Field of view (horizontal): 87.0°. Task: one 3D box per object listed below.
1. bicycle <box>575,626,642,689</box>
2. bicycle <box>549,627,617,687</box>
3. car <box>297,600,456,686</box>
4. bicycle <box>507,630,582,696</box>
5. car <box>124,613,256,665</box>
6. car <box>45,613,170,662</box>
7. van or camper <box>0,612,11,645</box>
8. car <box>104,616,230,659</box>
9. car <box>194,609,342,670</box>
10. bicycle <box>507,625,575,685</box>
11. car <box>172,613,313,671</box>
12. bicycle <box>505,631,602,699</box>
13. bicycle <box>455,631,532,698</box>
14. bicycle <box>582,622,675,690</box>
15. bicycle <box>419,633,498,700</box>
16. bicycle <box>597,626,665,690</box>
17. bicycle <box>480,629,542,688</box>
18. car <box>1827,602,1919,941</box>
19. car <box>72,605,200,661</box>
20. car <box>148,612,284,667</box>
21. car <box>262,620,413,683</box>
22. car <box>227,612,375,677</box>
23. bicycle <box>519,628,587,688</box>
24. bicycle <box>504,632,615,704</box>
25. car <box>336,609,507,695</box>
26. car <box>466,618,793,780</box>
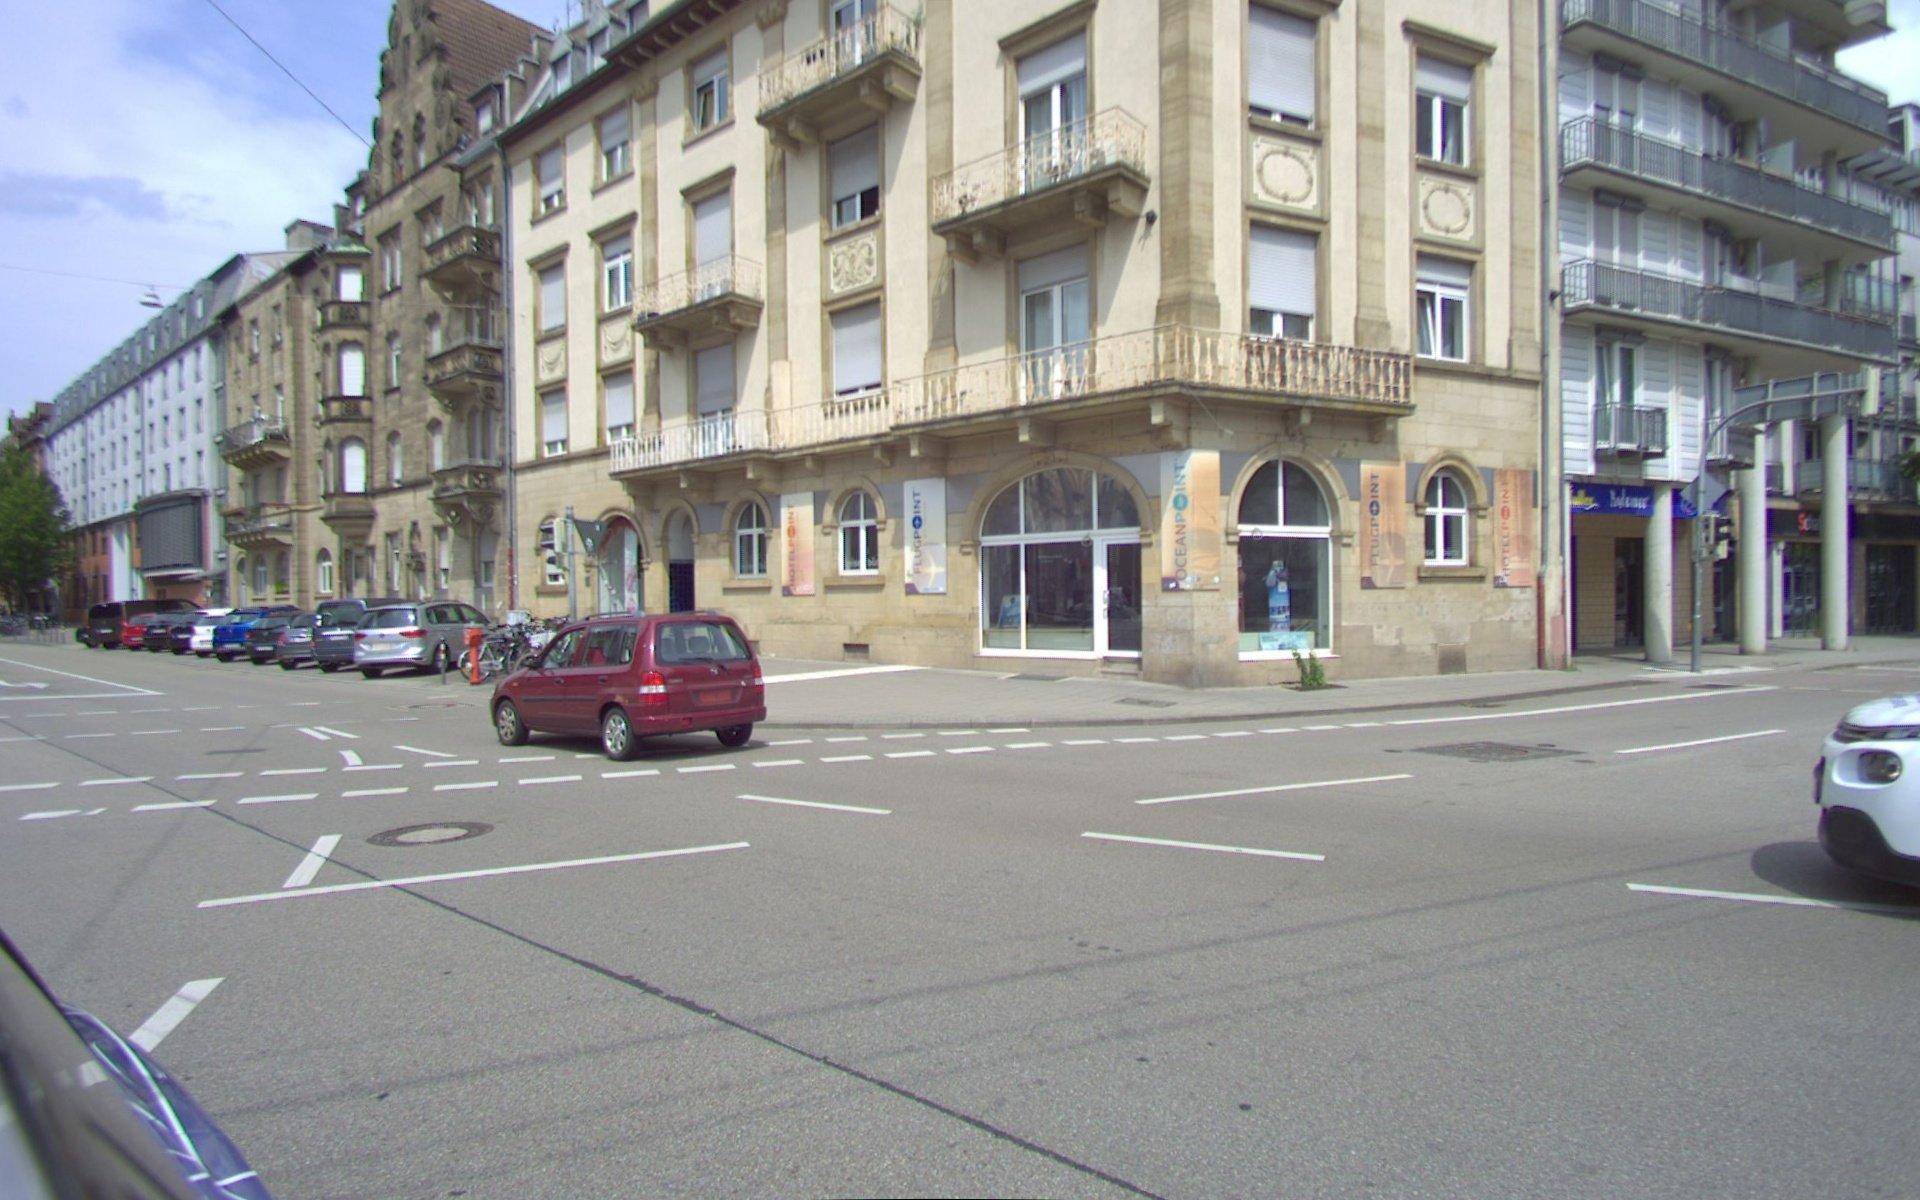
[{"bbox_3d":[-7.434,1.204,21.449,0.396,1.201,1.330,-1,2,34],"label":"bicycle"},{"bbox_3d":[-7.996,1.185,21.520,0.397,1.201,1.328,-2,-1,39],"label":"bicycle"},{"bbox_3d":[-14.970,1.046,26.224,1.735,1.832,3.827,-4,2,1],"label":"car"},{"bbox_3d":[-8.320,1.241,20.311,0.397,1.201,1.329,-2,1,37],"label":"bicycle"},{"bbox_3d":[-28.725,1.418,37.899,1.738,1.546,3.822,-4,2,6],"label":"car"},{"bbox_3d":[-35.891,1.532,42.726,1.738,1.698,3.822,-4,2,6],"label":"car"},{"bbox_3d":[-59.425,1.724,60.295,1.997,2.029,3.949,-1,-1,37],"label":"van or camper"},{"bbox_3d":[-31.057,1.443,39.776,1.737,1.547,3.821,-1,0,6],"label":"car"},{"bbox_3d":[-21.686,1.200,31.915,1.738,1.546,3.822,-4,2,6],"label":"car"},{"bbox_3d":[-9.043,1.169,21.878,0.397,1.201,1.330,-2,1,35],"label":"bicycle"},{"bbox_3d":[-24.156,1.374,34.248,1.738,1.546,3.822,-4,2,6],"label":"car"},{"bbox_3d":[-7.916,1.249,19.785,0.397,1.201,1.800,-2,0,37],"label":"bicycle"},{"bbox_3d":[-9.284,1.269,20.186,0.396,1.201,1.331,-1,2,34],"label":"bicycle"},{"bbox_3d":[-6.677,1.106,20.455,0.397,1.201,1.808,-2,1,39],"label":"bicycle"},{"bbox_3d":[-10.071,1.308,20.350,0.397,1.201,1.329,-2,2,39],"label":"bicycle"},{"bbox_3d":[-6.884,1.203,21.201,0.396,1.201,1.330,-1,2,34],"label":"bicycle"},{"bbox_3d":[-9.778,1.255,22.078,0.395,1.201,1.335,-1,0,23],"label":"bicycle"},{"bbox_3d":[6.051,0.700,3.776,4.239,1.442,1.716,-2,-1,41],"label":"car"},{"bbox_3d":[-33.304,1.280,41.039,1.738,1.907,3.822,-4,2,6],"label":"car"},{"bbox_3d":[-26.448,1.364,36.138,1.738,1.546,3.822,-4,2,6],"label":"car"},{"bbox_3d":[-17.012,1.354,27.874,1.735,1.547,3.826,-1,0,1],"label":"car"},{"bbox_3d":[-19.399,1.257,30.002,1.735,1.546,3.827,-4,2,1],"label":"car"},{"bbox_3d":[-8.657,1.224,21.555,0.397,1.201,1.328,-2,-1,38],"label":"bicycle"},{"bbox_3d":[-7.386,1.232,18.714,1.844,1.201,0.457,-1,0,-30],"label":"bicycle"},{"bbox_3d":[-12.545,1.140,23.899,1.735,1.601,4.035,-4,2,1],"label":"car"},{"bbox_3d":[-3.890,0.979,11.606,3.997,1.535,1.745,-1,-2,41],"label":"car"}]
